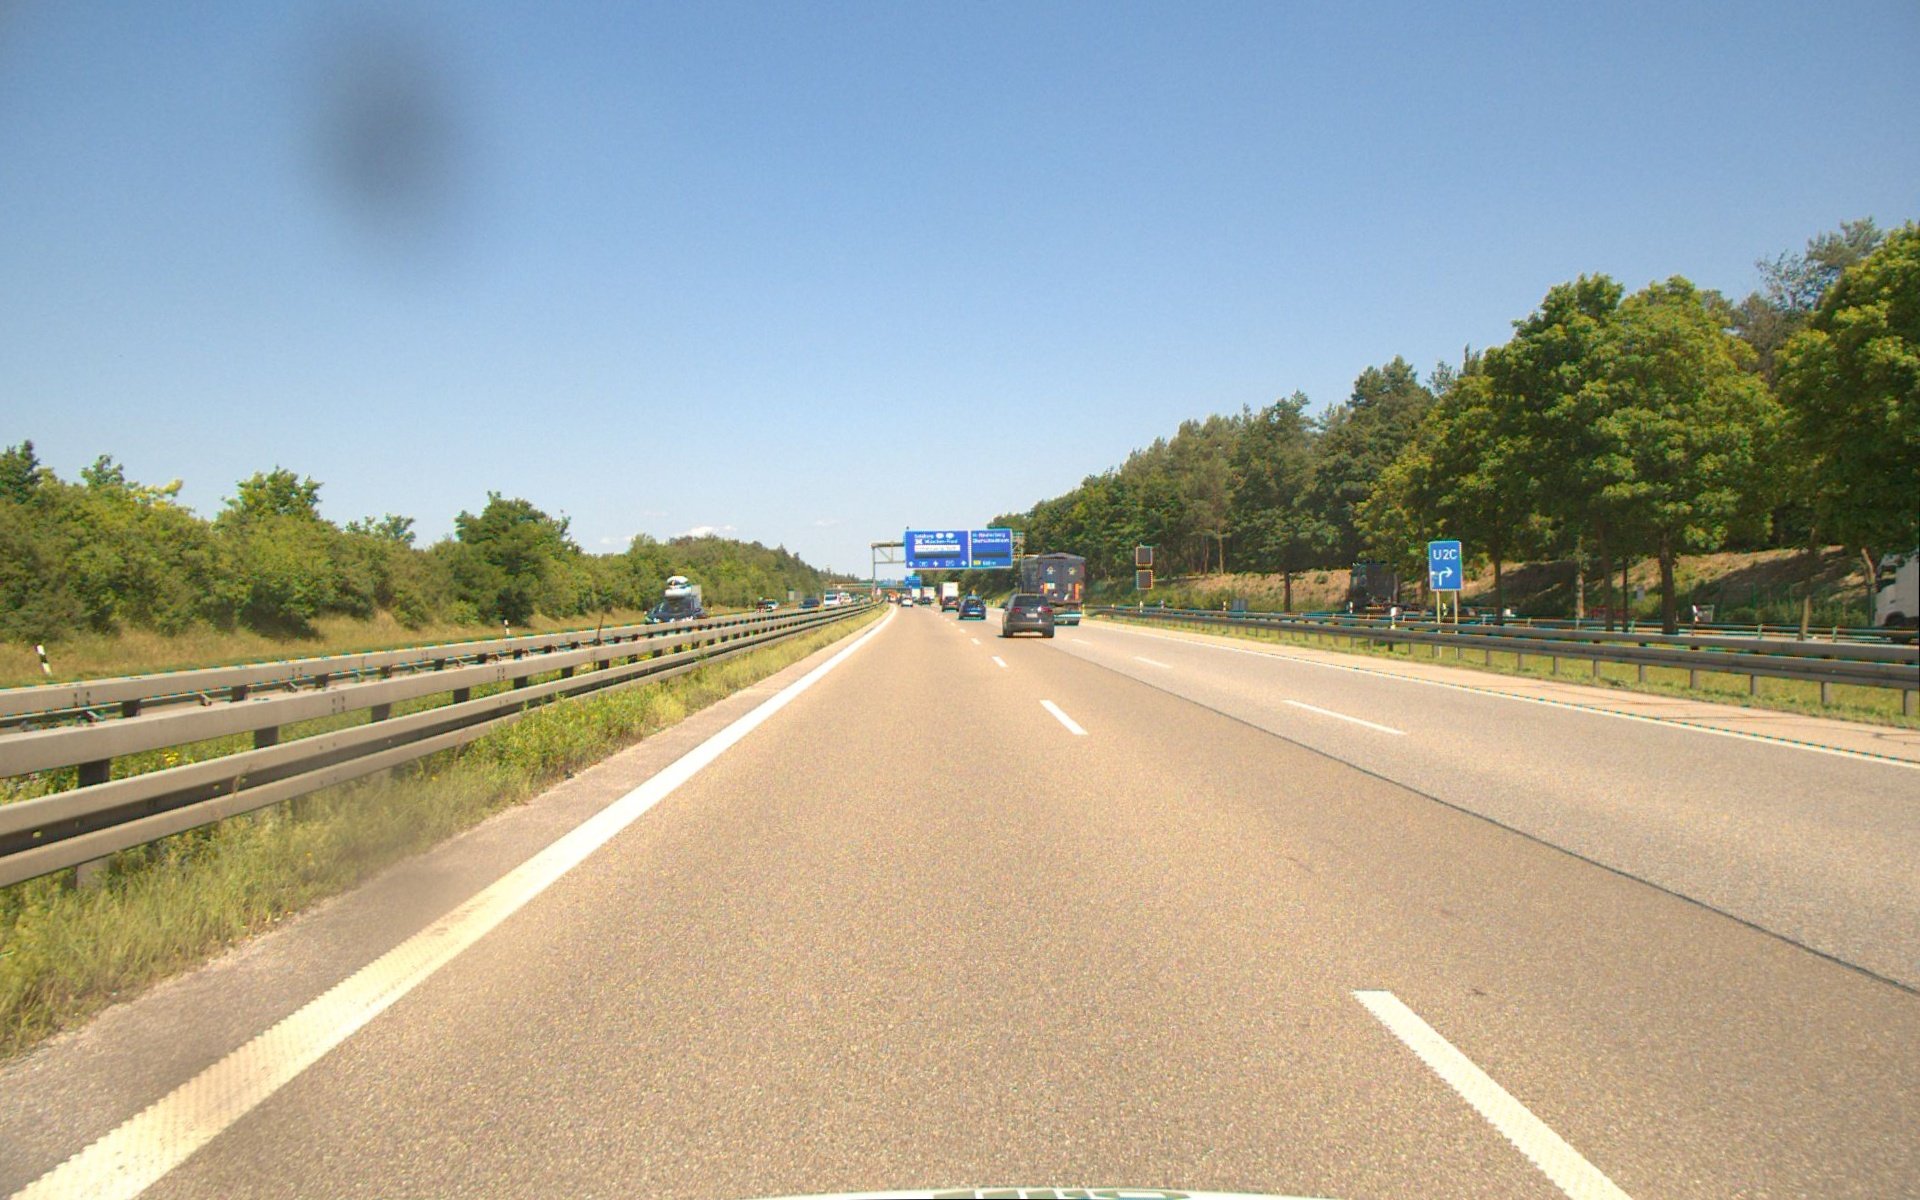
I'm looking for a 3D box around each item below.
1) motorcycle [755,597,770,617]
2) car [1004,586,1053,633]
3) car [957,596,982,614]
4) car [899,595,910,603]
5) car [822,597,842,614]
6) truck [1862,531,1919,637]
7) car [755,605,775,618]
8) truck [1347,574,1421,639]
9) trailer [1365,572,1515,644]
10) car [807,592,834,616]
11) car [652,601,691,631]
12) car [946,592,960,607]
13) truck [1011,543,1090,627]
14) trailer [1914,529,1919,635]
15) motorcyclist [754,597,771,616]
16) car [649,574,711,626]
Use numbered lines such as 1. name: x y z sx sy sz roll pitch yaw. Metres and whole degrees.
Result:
1. motorcycle: -11.221 0.399 94.080 0.650 1.095 1.881 -2 0 -1
2. car: 2.611 0.341 63.197 1.762 1.698 4.259 1 0 2
3. car: 0.615 0.340 112.292 1.674 1.176 3.689 0 0 -1
4. car: -8.113 -0.124 241.793 1.441 1.249 3.410 0 0 -1
5. car: -14.725 0.654 190.601 1.881 1.905 5.515 1 -1 -1
6. truck: 36.153 -0.571 60.818 2.756 3.863 5.136 0 0 -8
7. car: -21.755 1.240 184.501 1.751 1.464 4.520 0 0 -1
8. truck: 26.598 0.387 103.861 2.528 3.983 4.848 0 0 -14
9. trailer: 28.102 0.446 97.736 2.528 3.983 12.702 0 0 -14
10. car: -11.804 0.327 140.096 1.953 2.049 3.999 0 0 -1
11. car: -15.154 0.800 86.901 1.482 1.512 3.372 -1 0 -1
12. car: -0.734 -0.045 171.004 1.441 1.422 3.410 2 0 -1
13. truck: 5.098 -0.809 96.184 3.703 4.499 14.048 0 0 -1
14. trailer: 37.154 -0.656 53.550 2.804 3.863 14.164 0 0 -8
15. motorcyclist: -11.230 0.367 94.151 0.857 1.095 0.811 -2 0 -1
16. car: -12.103 0.008 71.737 1.953 2.146 4.301 -1 0 -1
